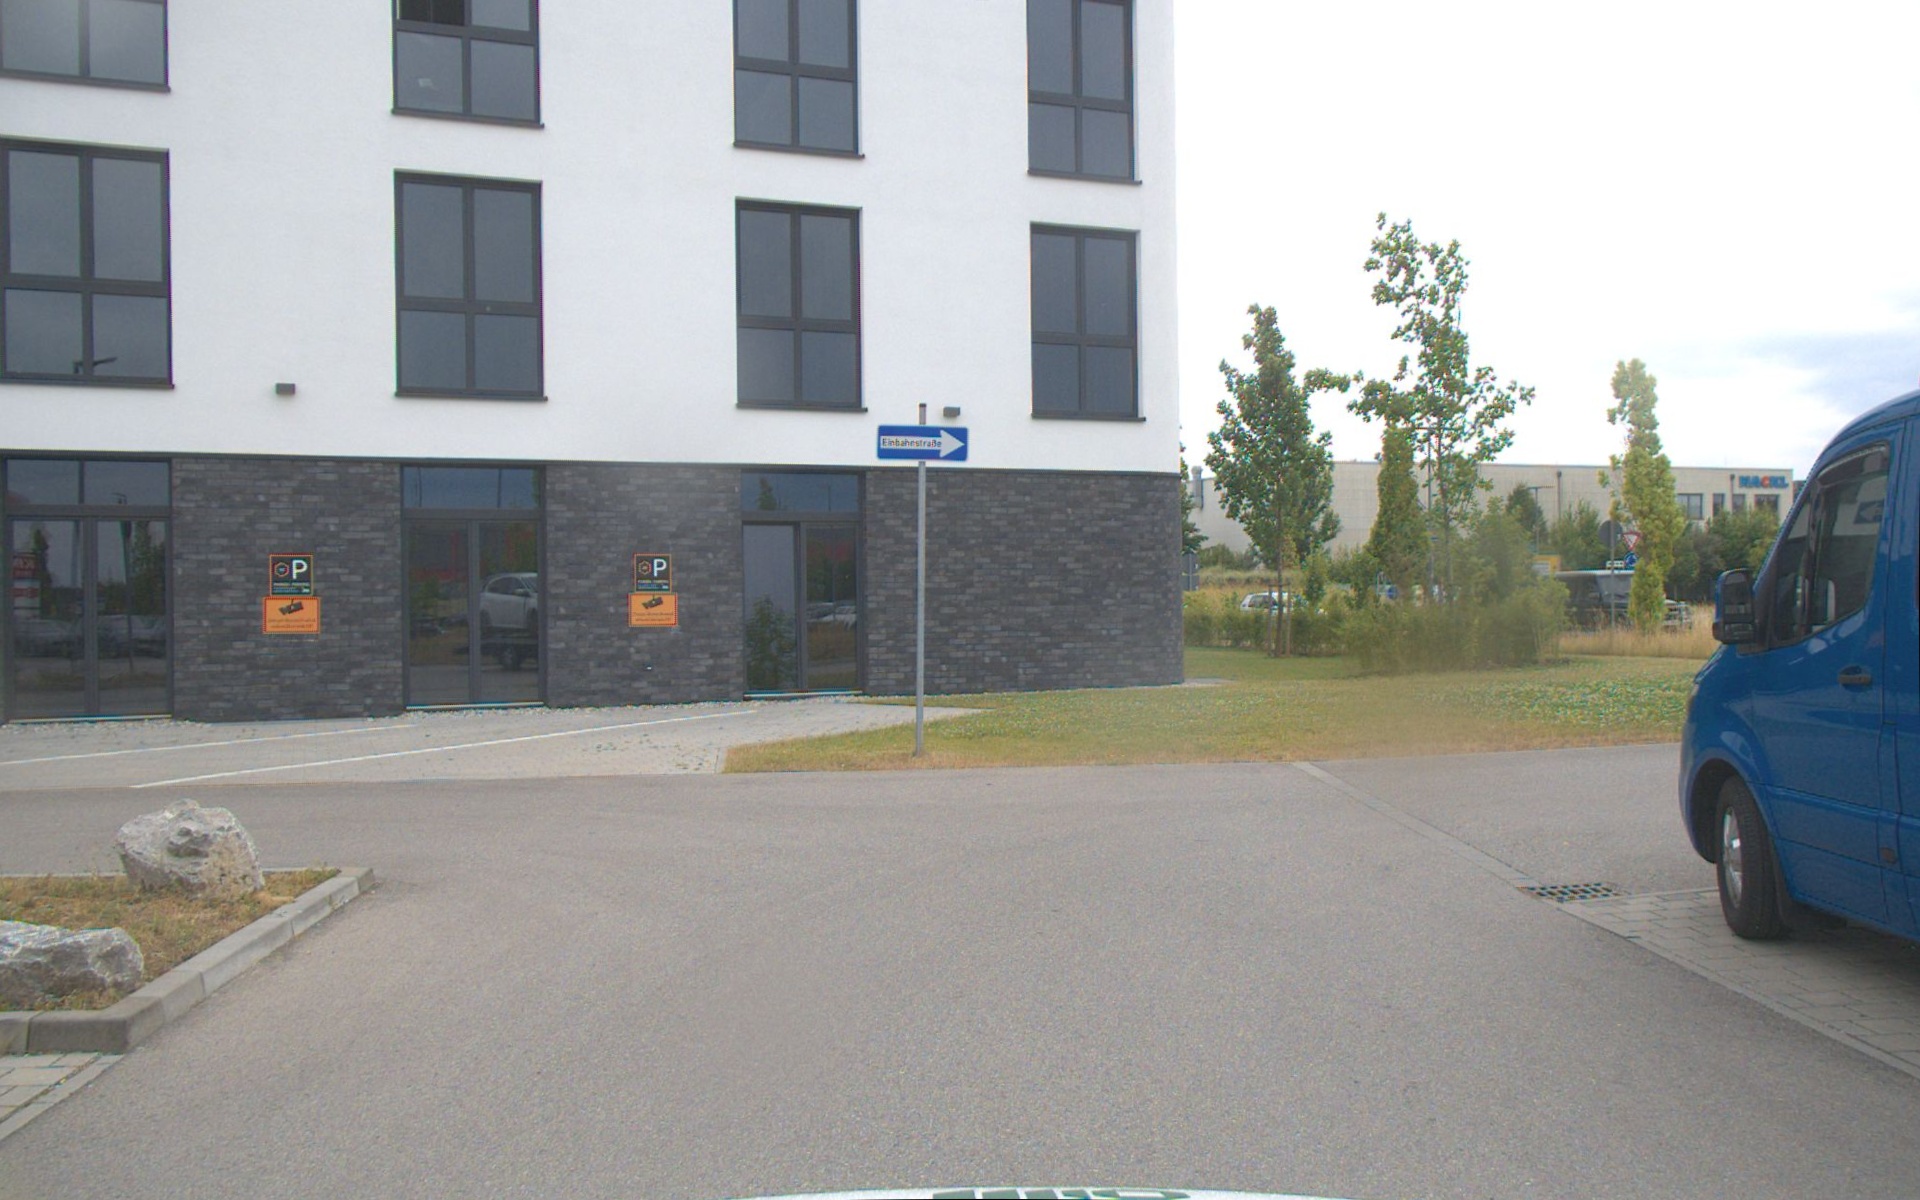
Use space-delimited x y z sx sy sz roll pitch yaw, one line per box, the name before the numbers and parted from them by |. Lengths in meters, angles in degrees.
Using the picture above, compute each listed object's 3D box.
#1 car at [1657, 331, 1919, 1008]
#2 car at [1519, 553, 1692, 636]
car | 4.367 0.239 4.116 2.148 2.363 7.859 -1 0 2
car | 16.510 -0.183 42.613 1.957 1.957 4.837 -1 1 -10
